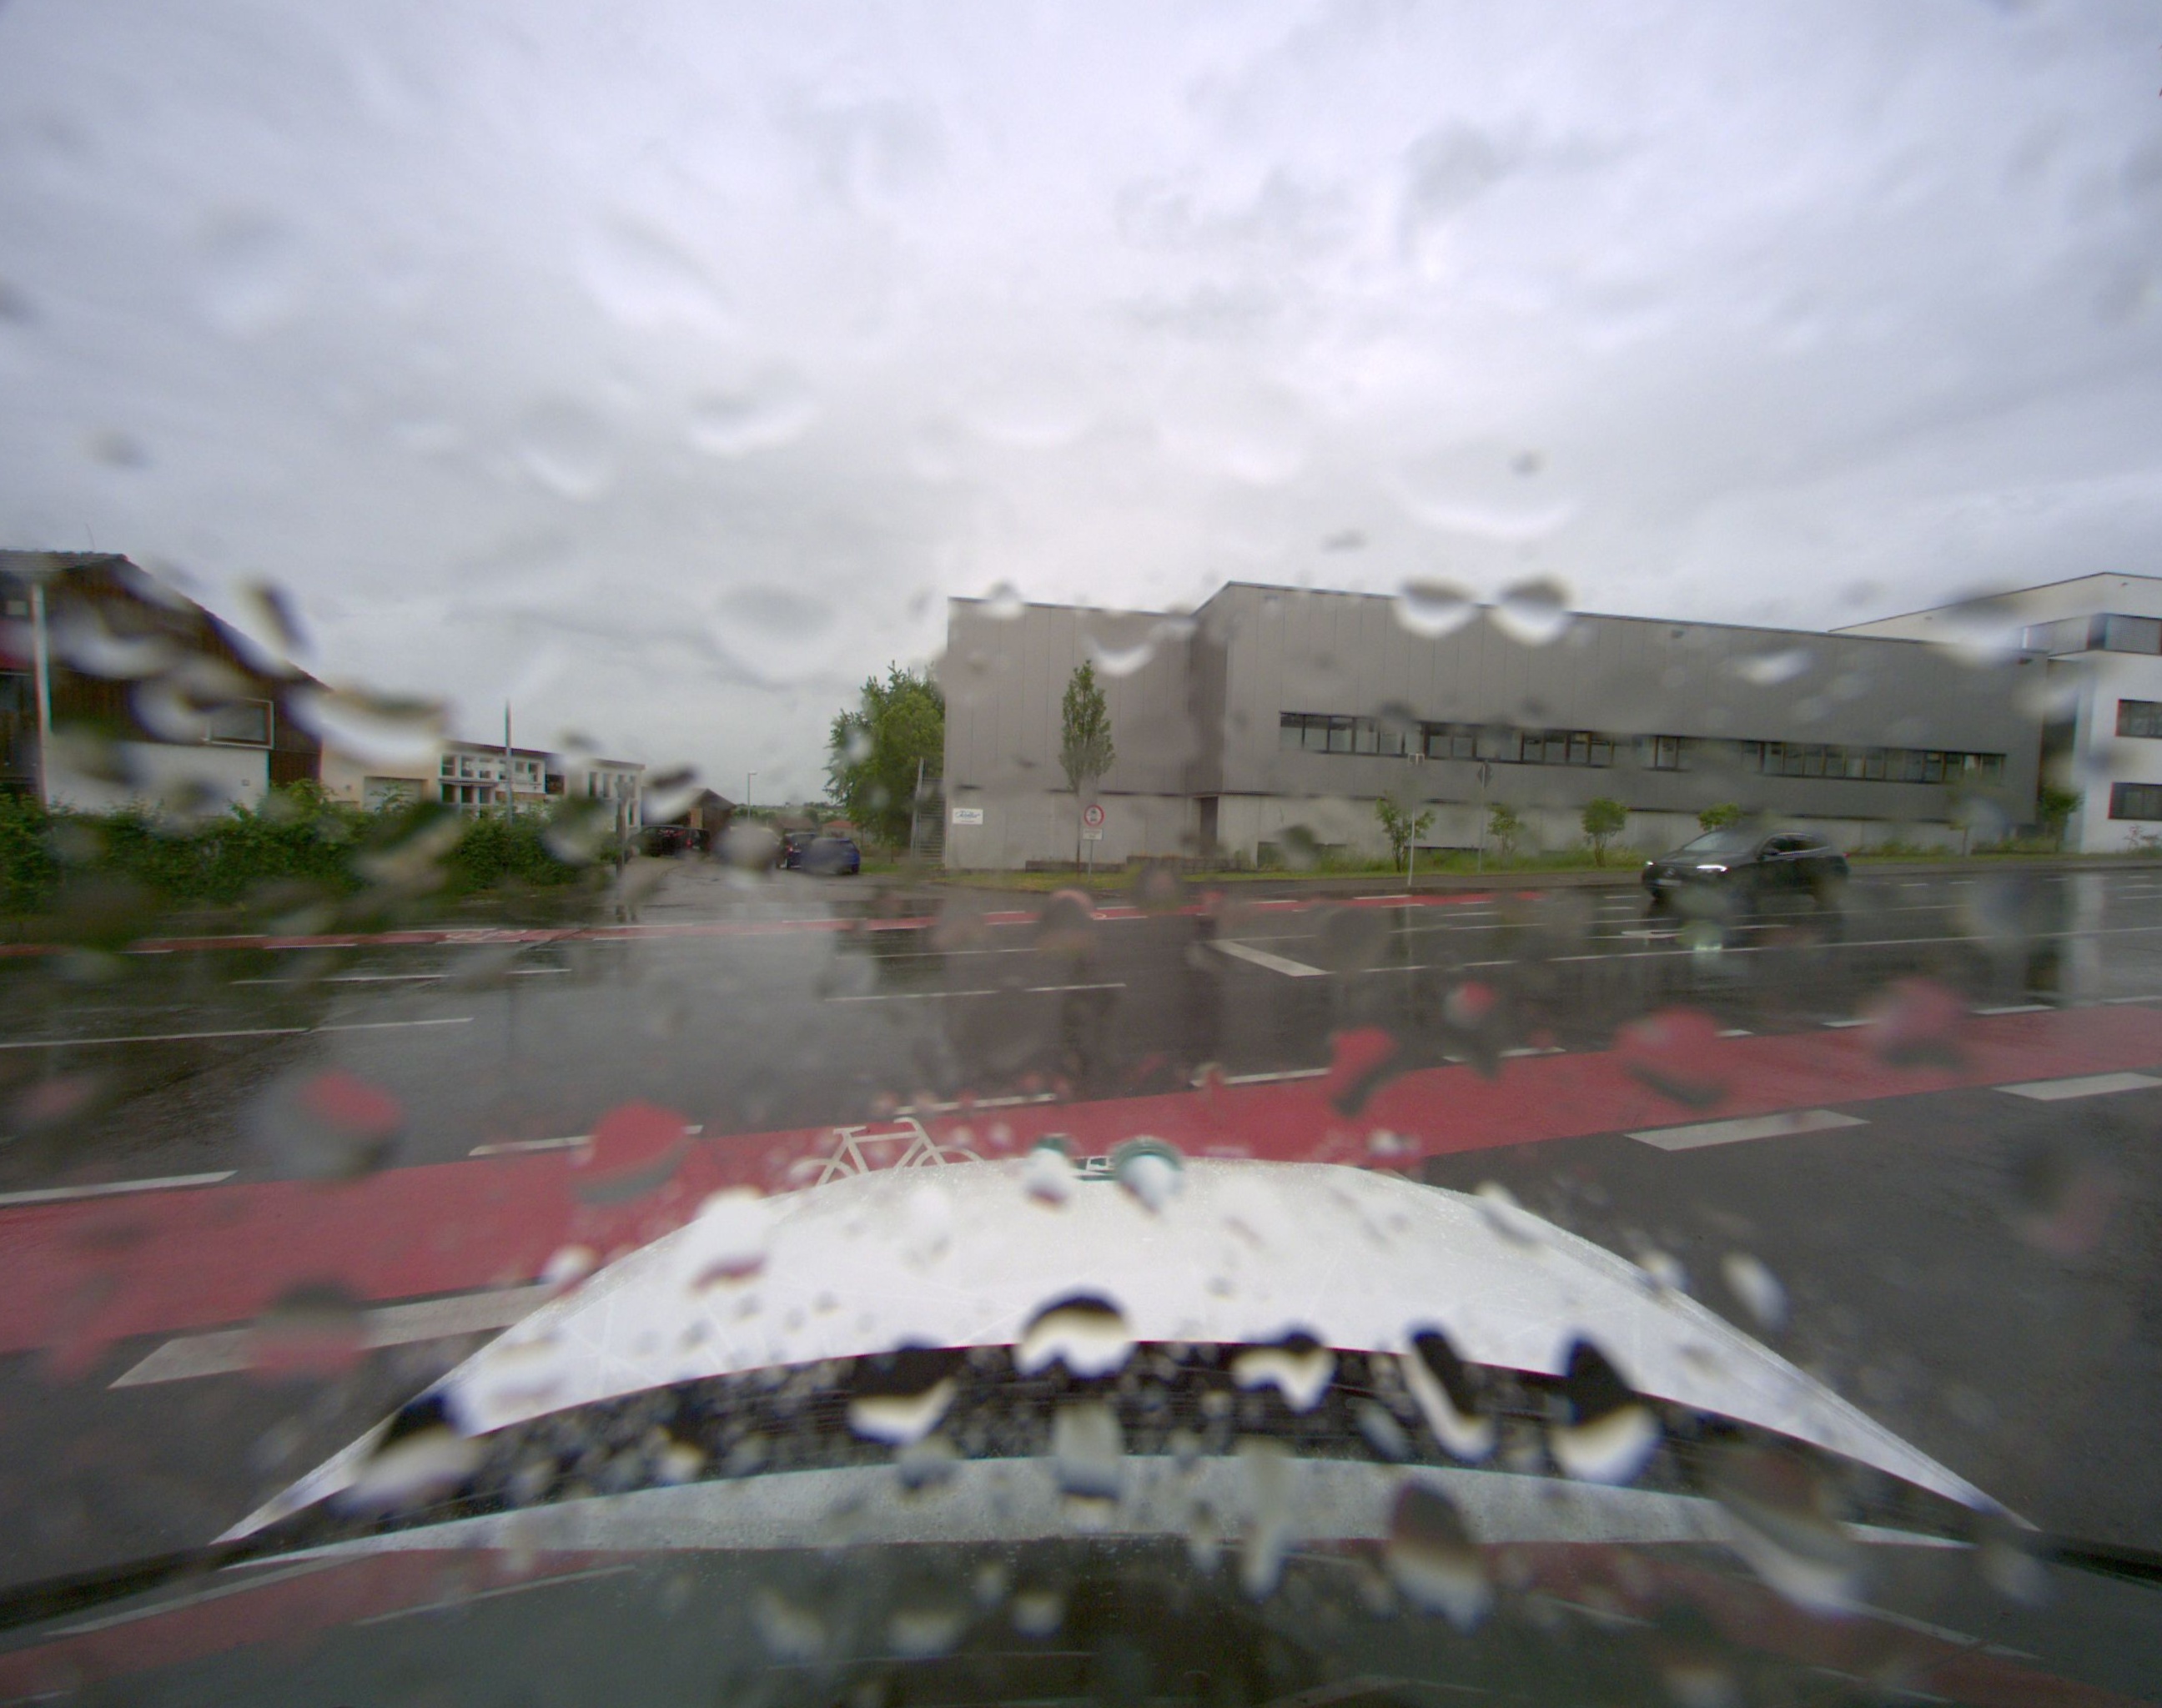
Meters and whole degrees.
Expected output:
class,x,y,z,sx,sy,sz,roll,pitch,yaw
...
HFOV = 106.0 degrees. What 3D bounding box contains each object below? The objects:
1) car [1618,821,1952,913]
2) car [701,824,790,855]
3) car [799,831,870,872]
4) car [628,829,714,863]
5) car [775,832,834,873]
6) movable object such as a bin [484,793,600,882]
class,x,y,z,sx,sy,sz,roll,pitch,yaw
car,15.706,0.215,18.207,6.870,1.815,2.349,0,1,-17
car,-26.699,-1.117,65.014,5.995,2.415,2.461,0,0,-3
car,-10.333,-0.114,33.907,1.963,1.610,4.405,0,0,-29
car,-23.873,-0.466,47.455,4.360,1.905,2.010,0,0,19
car,-13.403,-0.088,39.307,2.086,1.835,4.430,0,0,-28
movable object such as a bin,-16.521,-0.488,25.153,1.732,2.556,3.329,0,0,-9
